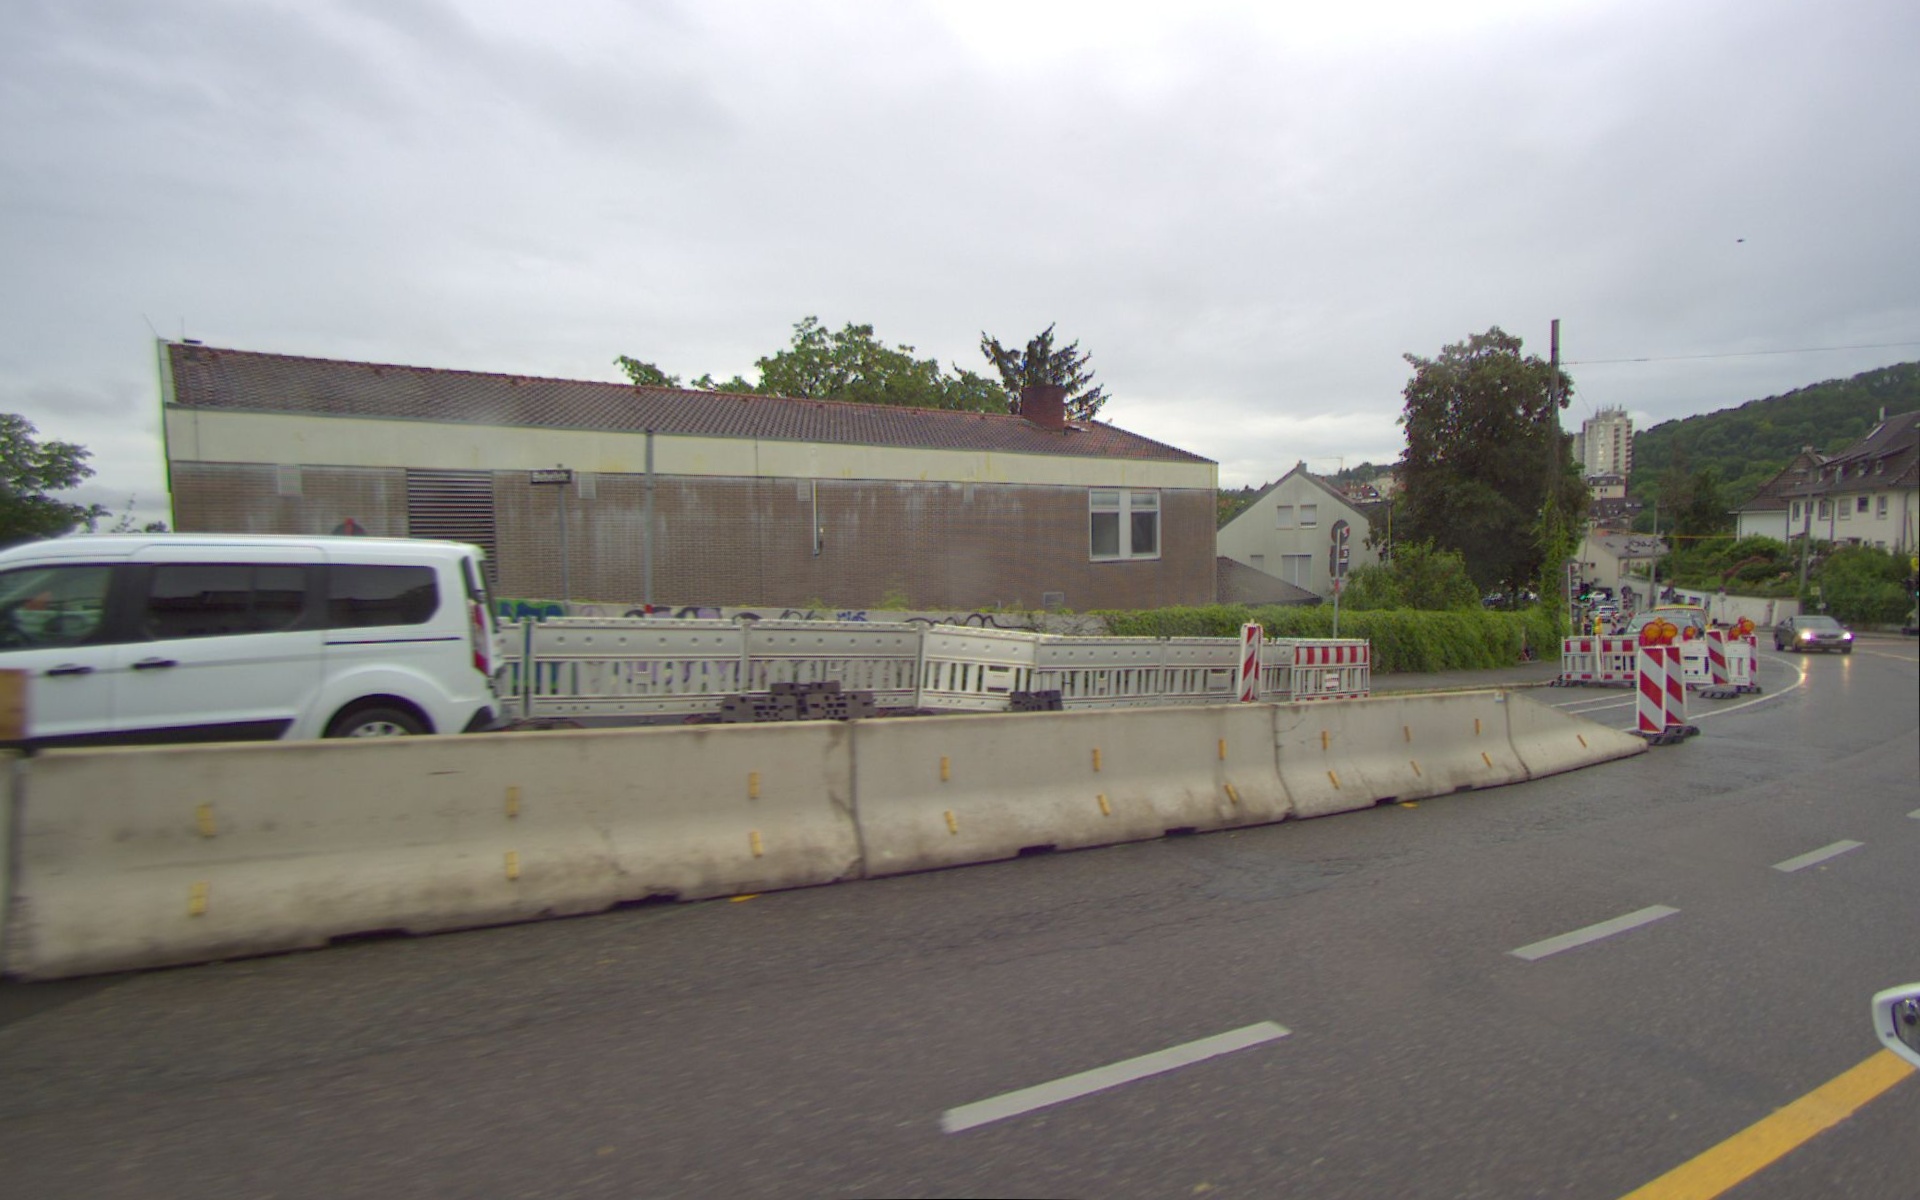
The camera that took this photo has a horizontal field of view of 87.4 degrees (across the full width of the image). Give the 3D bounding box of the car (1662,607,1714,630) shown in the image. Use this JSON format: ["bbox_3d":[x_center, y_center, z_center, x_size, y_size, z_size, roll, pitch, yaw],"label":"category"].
[{"bbox_3d":[52.671,1.340,72.727,1.961,1.595,4.000,1,0,20],"label":"car"}]

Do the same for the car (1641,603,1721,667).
[{"bbox_3d":[25.295,1.178,35.383,1.966,2.040,5.128,1,0,33],"label":"car"}]

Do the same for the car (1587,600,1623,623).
[{"bbox_3d":[58.275,1.024,90.832,1.961,1.707,3.997,-1,4,21],"label":"car"}]

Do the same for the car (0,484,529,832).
[{"bbox_3d":[-5.742,0.403,7.178,4.741,2.039,1.989,-4,-2,-25],"label":"car"}]

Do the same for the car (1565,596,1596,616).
[{"bbox_3d":[63.047,0.633,102.073,1.961,1.707,3.997,-1,4,21],"label":"car"}]

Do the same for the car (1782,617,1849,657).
[{"bbox_3d":[34.964,1.482,41.153,1.969,1.483,3.982,1,0,39],"label":"car"}]
